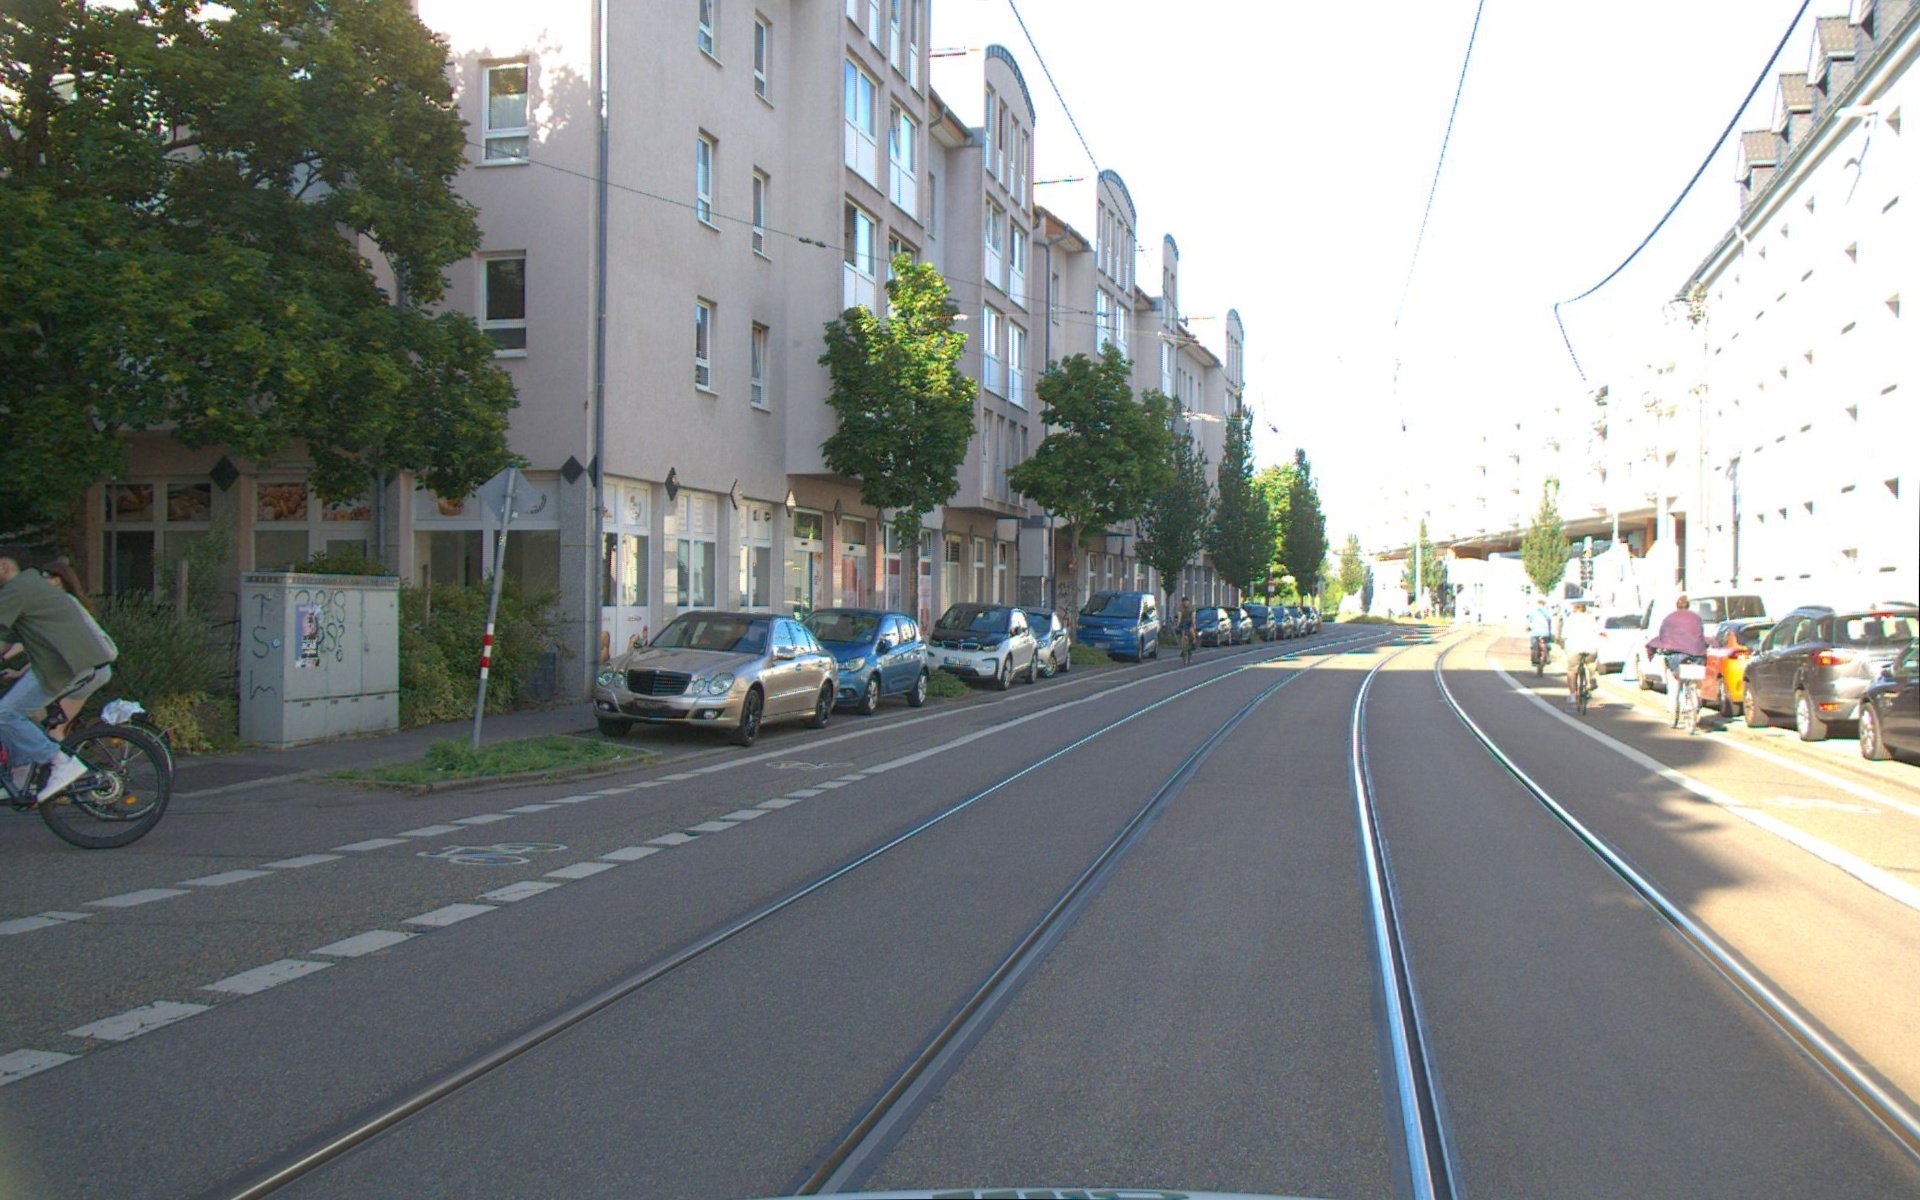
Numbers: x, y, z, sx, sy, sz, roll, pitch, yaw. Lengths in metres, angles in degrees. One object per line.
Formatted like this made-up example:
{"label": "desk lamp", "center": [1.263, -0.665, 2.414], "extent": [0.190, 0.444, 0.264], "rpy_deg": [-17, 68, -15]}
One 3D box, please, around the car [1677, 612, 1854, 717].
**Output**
{"label": "car", "center": [12.670, 0.960, 26.235], "extent": [1.757, 1.509, 3.781], "rpy_deg": [0, 0, 14]}

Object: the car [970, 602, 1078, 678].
{"label": "car", "center": [1.528, 0.874, 38.040], "extent": [1.790, 1.621, 4.003], "rpy_deg": [0, 0, 13]}

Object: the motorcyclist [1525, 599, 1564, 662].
{"label": "motorcyclist", "center": [13.508, 0.696, 38.226], "extent": [0.712, 1.430, 1.021], "rpy_deg": [0, 0, 12]}

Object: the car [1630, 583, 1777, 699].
{"label": "car", "center": [13.876, 0.723, 31.090], "extent": [1.748, 2.005, 4.158], "rpy_deg": [-1, 0, 14]}

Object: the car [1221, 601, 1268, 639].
{"label": "car", "center": [13.088, 0.886, 75.860], "extent": [1.804, 1.674, 4.552], "rpy_deg": [0, 0, 14]}

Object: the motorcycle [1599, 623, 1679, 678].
{"label": "motorcycle", "center": [14.920, 1.102, 36.399], "extent": [0.484, 1.164, 1.756], "rpy_deg": [1, 0, -26]}

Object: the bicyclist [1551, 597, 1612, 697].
{"label": "bicyclist", "center": [9.458, 0.702, 25.200], "extent": [0.712, 1.487, 1.021], "rpy_deg": [0, 0, 12]}

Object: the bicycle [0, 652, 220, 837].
{"label": "bicycle", "center": [-6.281, 0.968, 11.178], "extent": [2.209, 1.169, 0.830], "rpy_deg": [0, -3, -38]}

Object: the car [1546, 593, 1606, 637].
{"label": "car", "center": [25.689, 0.611, 69.112], "extent": [1.804, 1.787, 4.552], "rpy_deg": [0, 0, 14]}

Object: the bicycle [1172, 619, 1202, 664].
{"label": "bicycle", "center": [5.963, 1.073, 43.377], "extent": [0.609, 1.121, 1.962], "rpy_deg": [-2, 0, 12]}

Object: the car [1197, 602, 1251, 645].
{"label": "car", "center": [10.775, 0.916, 67.262], "extent": [1.804, 1.674, 4.552], "rpy_deg": [0, 0, 14]}

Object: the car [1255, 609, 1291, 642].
{"label": "car", "center": [15.046, 1.206, 79.479], "extent": [1.557, 1.567, 3.193], "rpy_deg": [0, 0, 14]}

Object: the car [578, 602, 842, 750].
{"label": "car", "center": [-2.826, 0.802, 19.623], "extent": [1.707, 1.468, 4.003], "rpy_deg": [3, 1, 13]}

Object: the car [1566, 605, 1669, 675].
{"label": "car", "center": [16.648, 0.961, 42.067], "extent": [1.804, 1.674, 4.552], "rpy_deg": [0, 0, 14]}

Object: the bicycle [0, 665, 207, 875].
{"label": "bicycle", "center": [-5.712, 0.993, 9.830], "extent": [2.200, 1.169, 0.834], "rpy_deg": [1, -1, -29]}

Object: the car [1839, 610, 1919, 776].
{"label": "car", "center": [10.172, 0.892, 16.461], "extent": [1.558, 1.564, 4.010], "rpy_deg": [-2, -1, 14]}

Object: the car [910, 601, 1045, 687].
{"label": "car", "center": [0.430, 0.829, 33.316], "extent": [1.791, 1.621, 4.003], "rpy_deg": [0, 0, 15]}

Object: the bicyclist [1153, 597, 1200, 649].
{"label": "bicyclist", "center": [5.706, 0.607, 43.597], "extent": [1.158, 1.354, 1.096], "rpy_deg": [0, 0, 11]}

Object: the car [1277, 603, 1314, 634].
{"label": "car", "center": [18.177, 0.980, 89.465], "extent": [1.804, 1.674, 3.700], "rpy_deg": [0, 0, 14]}

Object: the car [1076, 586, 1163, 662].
{"label": "car", "center": [4.571, 0.646, 46.880], "extent": [1.630, 2.021, 4.345], "rpy_deg": [0, 0, 17]}

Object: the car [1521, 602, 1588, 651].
{"label": "car", "center": [20.871, 0.897, 58.192], "extent": [1.804, 1.674, 3.968], "rpy_deg": [0, 0, 14]}

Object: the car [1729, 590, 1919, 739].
{"label": "car", "center": [11.377, 0.775, 21.557], "extent": [1.625, 1.699, 3.907], "rpy_deg": [-3, -1, 14]}

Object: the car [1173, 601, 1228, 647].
{"label": "car", "center": [9.061, 0.882, 62.159], "extent": [1.629, 1.646, 4.003], "rpy_deg": [0, 0, 15]}

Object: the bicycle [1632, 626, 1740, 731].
{"label": "bicycle", "center": [9.685, 1.013, 22.165], "extent": [0.803, 1.258, 2.464], "rpy_deg": [2, 0, 12]}

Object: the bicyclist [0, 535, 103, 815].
{"label": "bicyclist", "center": [-5.635, 0.446, 9.881], "extent": [0.855, 1.589, 0.876], "rpy_deg": [-2, -1, -28]}

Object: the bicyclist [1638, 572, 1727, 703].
{"label": "bicyclist", "center": [9.614, 0.483, 22.045], "extent": [0.914, 1.705, 0.970], "rpy_deg": [0, 0, 12]}

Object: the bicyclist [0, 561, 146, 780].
{"label": "bicyclist", "center": [-6.149, 0.473, 11.334], "extent": [0.859, 1.404, 0.617], "rpy_deg": [-3, -1, -37]}

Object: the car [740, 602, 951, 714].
{"label": "car", "center": [-1.646, 0.832, 25.203], "extent": [1.791, 1.516, 4.002], "rpy_deg": [-2, 0, 18]}

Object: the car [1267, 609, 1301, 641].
{"label": "car", "center": [16.349, 1.246, 83.349], "extent": [1.557, 1.567, 3.193], "rpy_deg": [0, 0, 14]}
